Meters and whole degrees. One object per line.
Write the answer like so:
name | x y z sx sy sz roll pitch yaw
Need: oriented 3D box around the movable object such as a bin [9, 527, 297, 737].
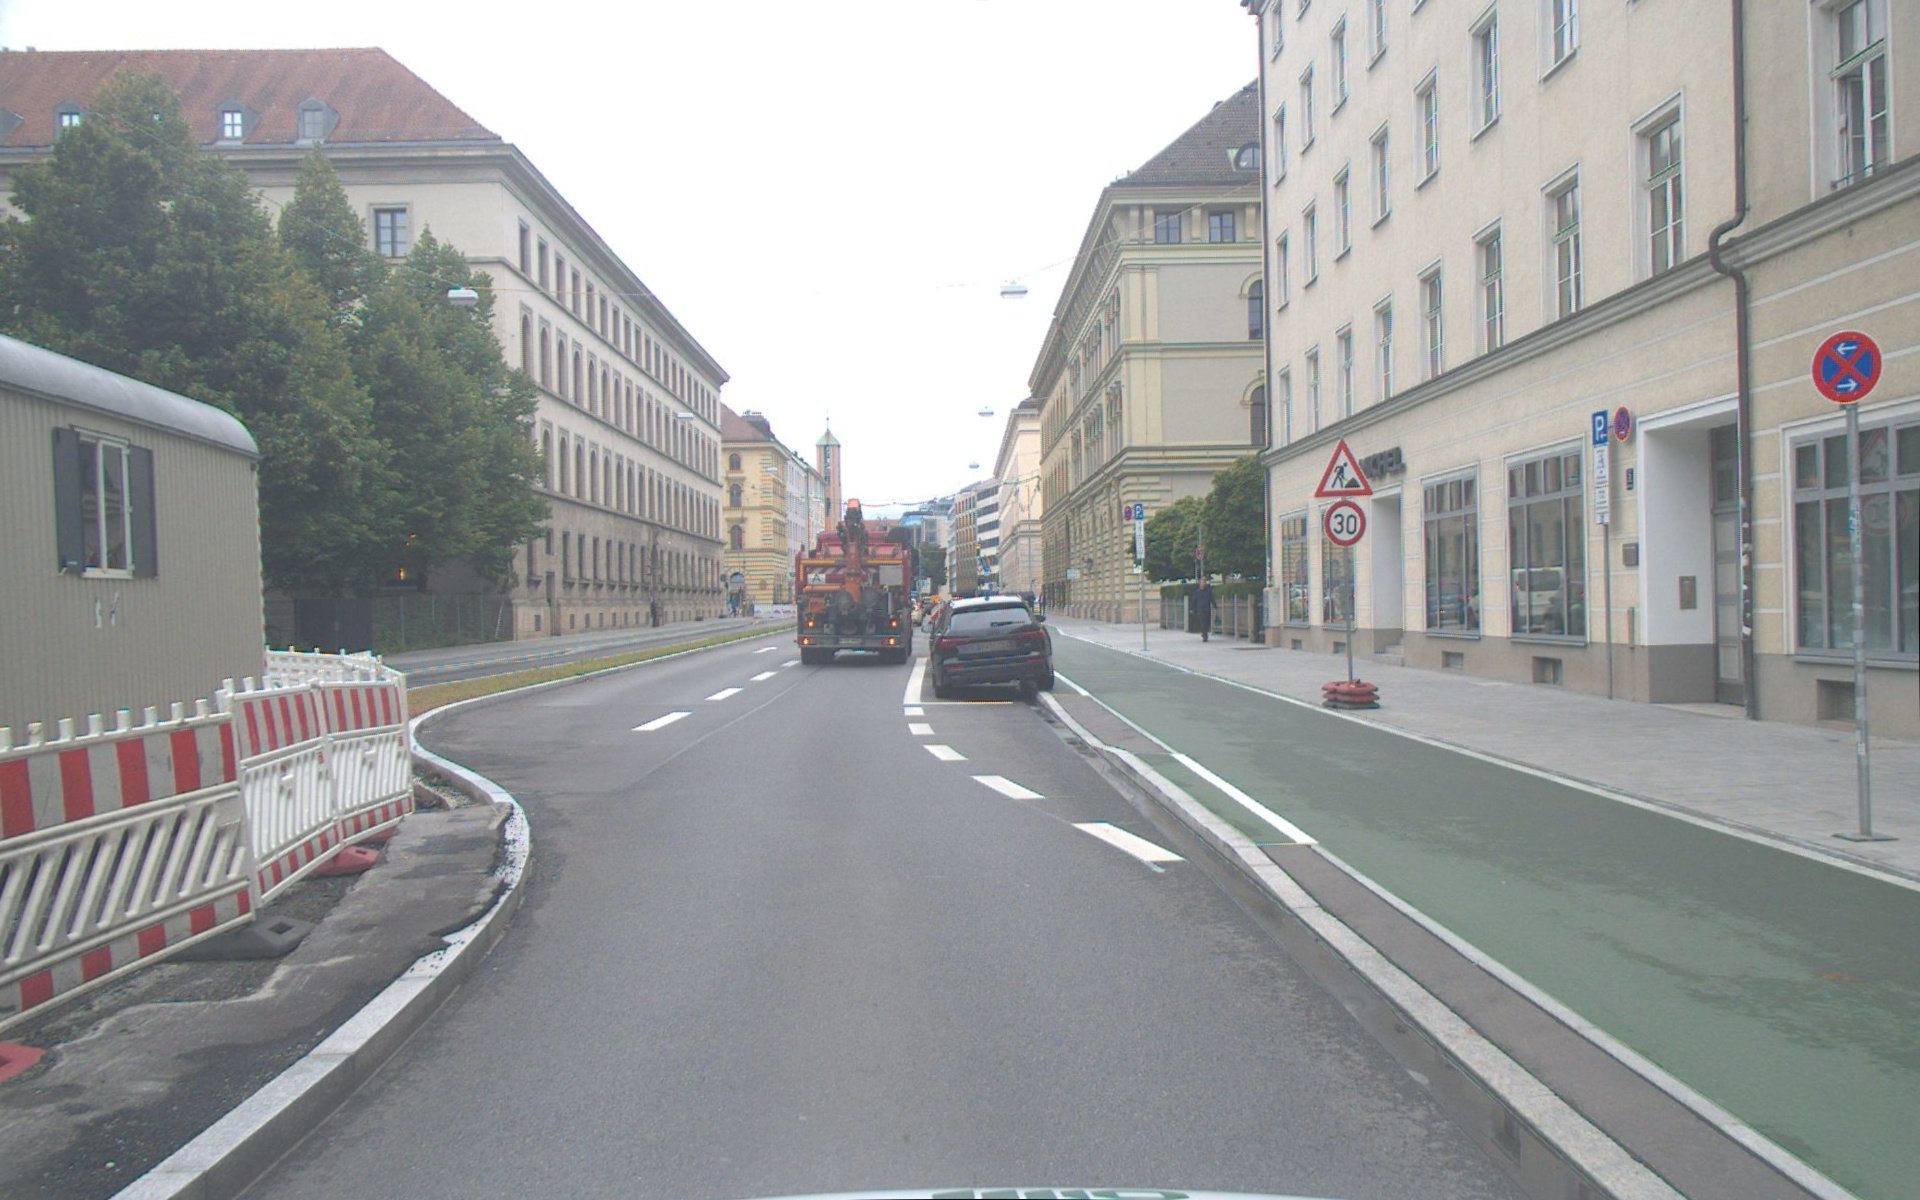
movable object such as a bin | -11.434 0.407 23.856 1.953 2.687 4.664 -2 0 -2

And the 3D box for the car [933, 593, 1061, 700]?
car | 0.506 0.661 26.517 1.765 1.506 4.685 -2 0 -2

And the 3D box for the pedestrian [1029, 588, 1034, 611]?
pedestrian | 5.205 -0.031 119.934 0.330 1.701 0.440 -1 0 0

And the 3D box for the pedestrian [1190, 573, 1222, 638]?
pedestrian | 7.179 0.153 48.346 0.774 1.868 0.777 -1 0 0

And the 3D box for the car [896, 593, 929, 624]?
car | -2.440 0.421 85.396 1.577 1.521 3.424 -2 0 -1

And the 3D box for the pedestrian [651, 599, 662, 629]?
pedestrian | -18.737 0.845 101.982 0.577 1.863 0.498 0 0 -2

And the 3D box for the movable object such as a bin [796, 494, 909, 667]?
movable object such as a bin | -2.399 -0.432 38.503 2.374 3.674 5.849 -1 0 -2

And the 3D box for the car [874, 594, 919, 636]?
car | -2.386 0.547 62.641 1.577 1.521 3.424 -2 0 -1

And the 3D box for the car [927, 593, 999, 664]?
car | 0.048 0.628 38.488 1.577 1.521 3.424 -2 0 -1

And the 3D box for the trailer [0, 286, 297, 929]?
trailer | -6.115 0.048 9.460 2.183 3.300 7.510 -1 0 -5

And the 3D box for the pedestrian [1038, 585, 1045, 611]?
pedestrian | 5.902 -0.134 119.907 0.436 1.868 0.556 -1 0 0
